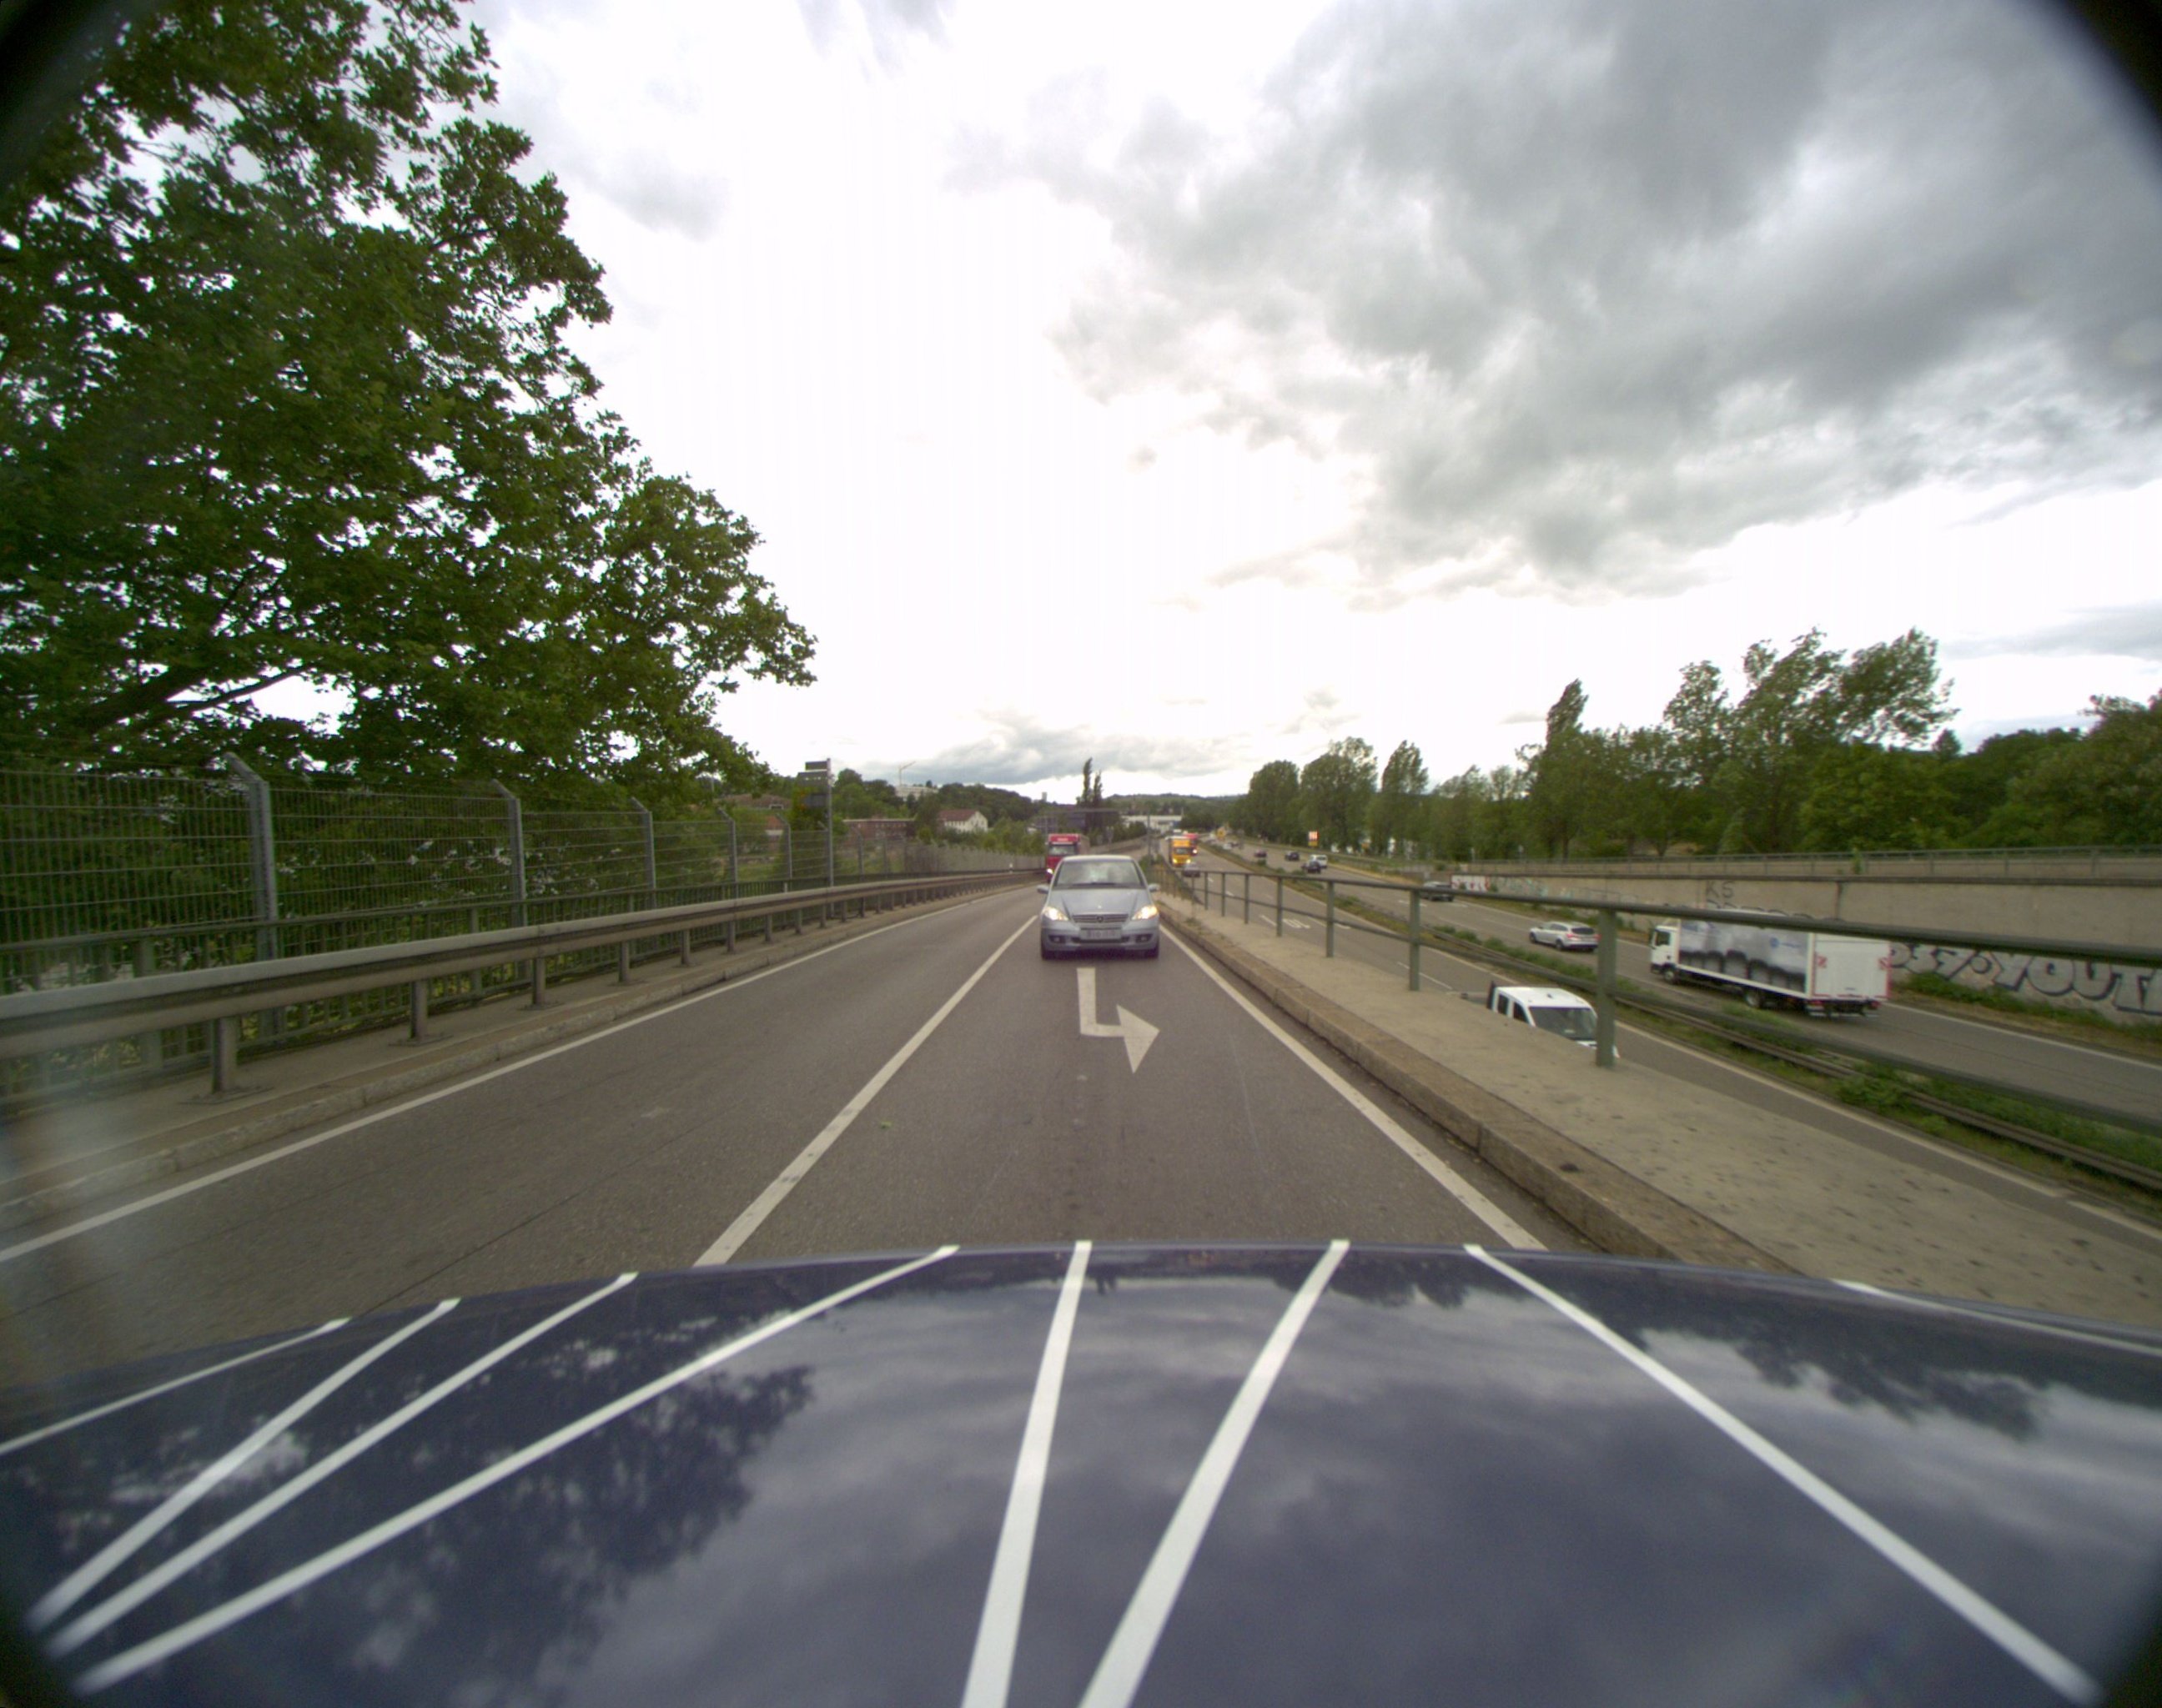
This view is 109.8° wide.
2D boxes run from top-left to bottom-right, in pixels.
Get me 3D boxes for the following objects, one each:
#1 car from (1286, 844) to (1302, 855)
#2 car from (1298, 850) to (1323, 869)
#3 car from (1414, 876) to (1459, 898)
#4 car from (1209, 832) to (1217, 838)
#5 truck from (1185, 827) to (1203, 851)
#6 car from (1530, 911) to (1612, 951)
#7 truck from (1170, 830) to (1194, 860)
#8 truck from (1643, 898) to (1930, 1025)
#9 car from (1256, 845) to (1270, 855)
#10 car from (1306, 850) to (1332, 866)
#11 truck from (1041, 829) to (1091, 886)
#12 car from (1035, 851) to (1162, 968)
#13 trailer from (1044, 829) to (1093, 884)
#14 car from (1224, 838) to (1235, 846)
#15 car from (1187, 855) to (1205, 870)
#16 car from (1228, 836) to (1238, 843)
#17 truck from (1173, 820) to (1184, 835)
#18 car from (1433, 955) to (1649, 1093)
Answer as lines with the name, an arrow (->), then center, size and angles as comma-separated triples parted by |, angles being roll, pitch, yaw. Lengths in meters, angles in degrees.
car -> 36.049, -0.787, 128.505 | 1.997, 1.758, 3.484 | 1, 1, 6
car -> 30.091, 0.700, 99.723 | 2.223, 2.003, 4.639 | 1, 5, 5
car -> 31.467, 2.924, 67.399 | 1.998, 1.609, 4.328 | 1, 2, 1
car -> 40.879, -5.762, 234.840 | 1.998, 1.707, 3.640 | 1, 1, 4
truck -> 21.707, -3.025, 146.293 | 2.887, 4.333, 13.257 | 0, 3, 6
car -> 27.161, 4.245, 42.316 | 1.998, 1.609, 4.329 | 1, 2, 4
truck -> 14.980, -1.417, 113.406 | 2.900, 4.161, 10.023 | 1, 3, 4
truck -> 27.140, 3.928, 30.085 | 3.592, 3.437, 8.237 | 1, 3, 1
car -> 33.630, -0.773, 140.166 | 1.997, 1.707, 3.640 | 1, 1, 6
car -> 34.271, 0.515, 109.541 | 2.595, 2.003, 4.641 | 1, 3, 5
truck -> -1.125, 0.240, 62.108 | 3.668, 4.296, 7.236 | -2, 0, 1
car -> 0.299, 0.776, 12.545 | 1.747, 1.594, 3.682 | -2, 1, 2
trailer -> -0.916, 0.192, 68.116 | 3.668, 4.296, 13.782 | -2, 0, 2
car -> 33.583, -2.750, 172.137 | 1.997, 1.707, 3.640 | 1, 1, 6
car -> 13.983, 1.020, 92.314 | 1.878, 1.688, 3.840 | 0, 2, 5
car -> 38.897, -3.633, 194.377 | 1.997, 1.707, 3.640 | 1, 1, 5
truck -> 33.672, -9.173, 262.973 | 3.375, 4.927, 13.937 | -1, 3, 6
car -> 12.981, 4.680, 22.232 | 2.351, 2.219, 6.552 | 1, 3, 1
